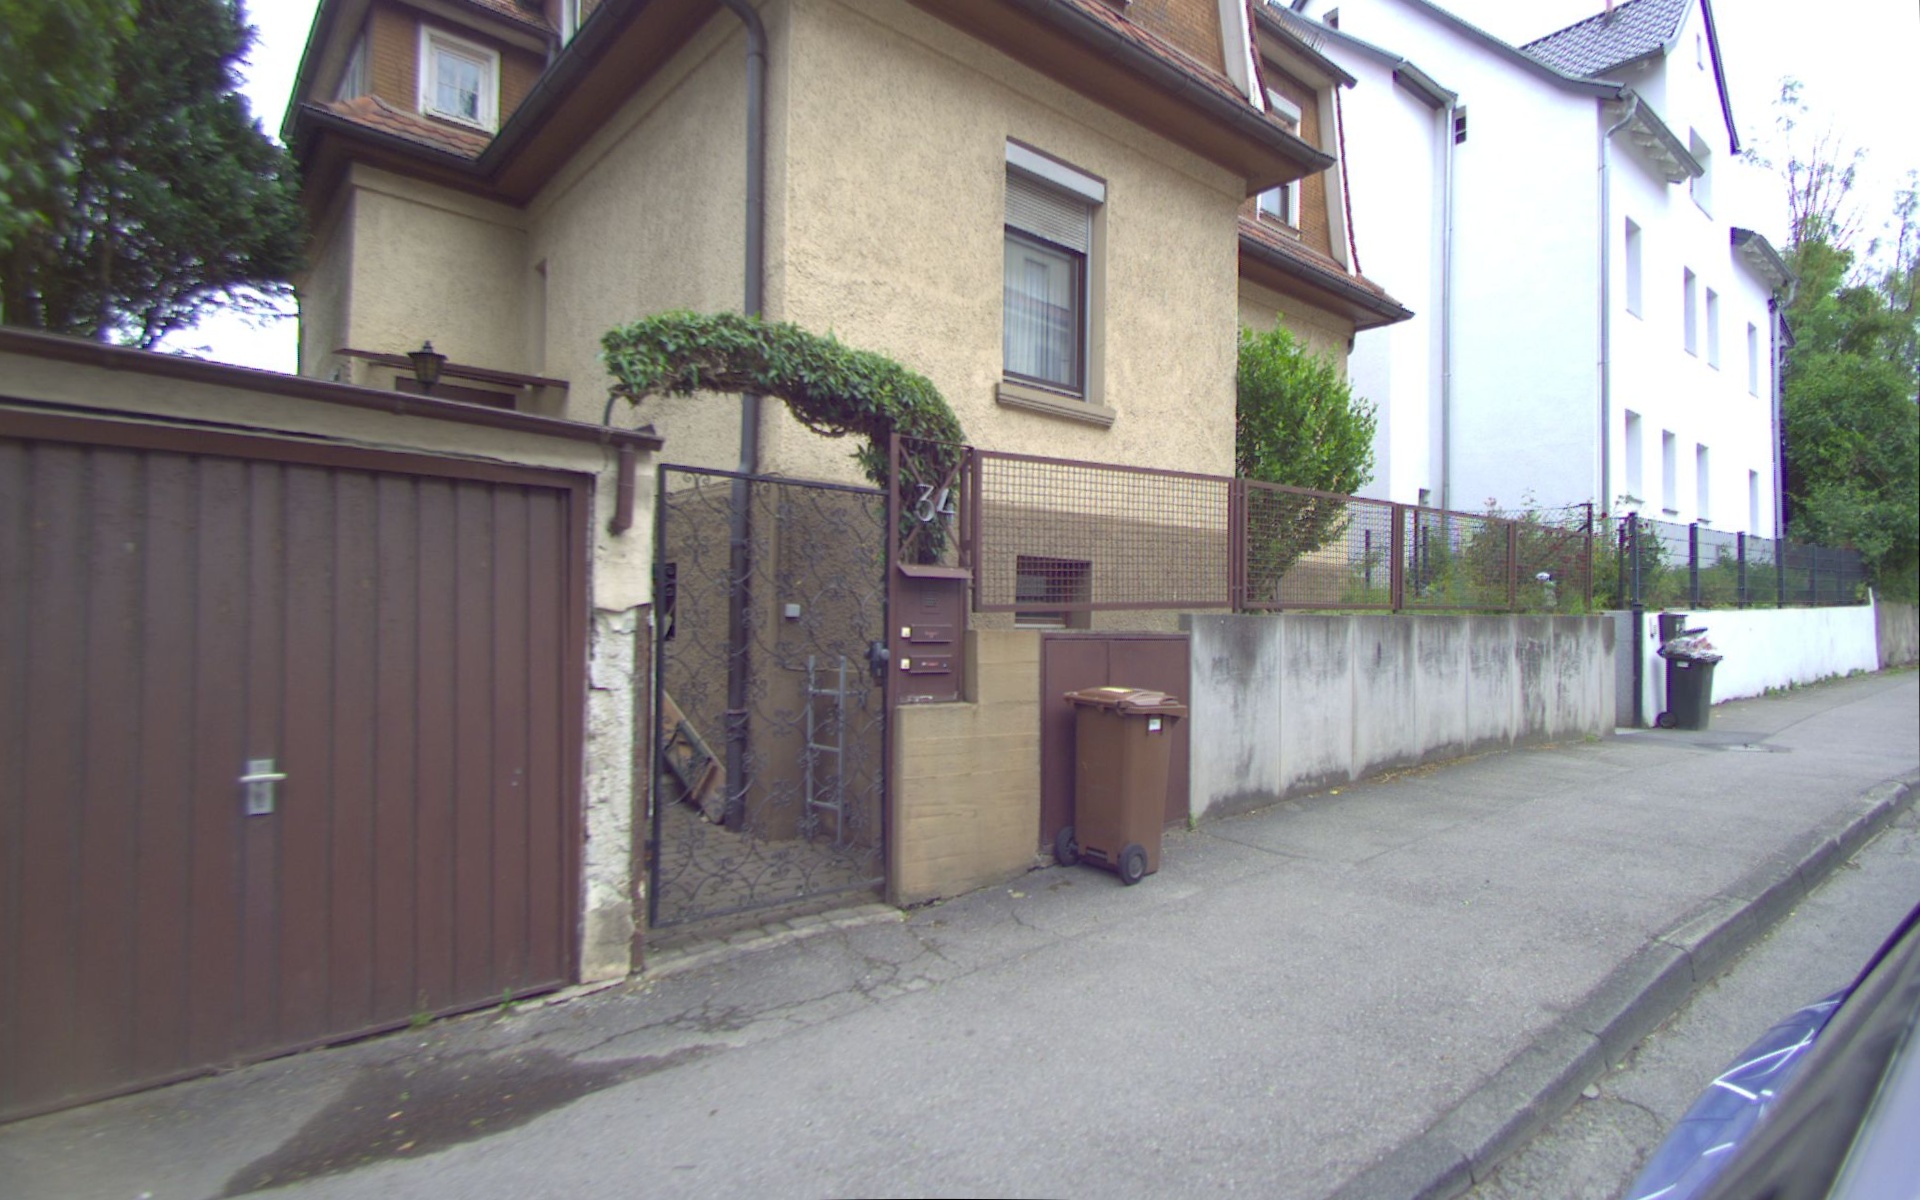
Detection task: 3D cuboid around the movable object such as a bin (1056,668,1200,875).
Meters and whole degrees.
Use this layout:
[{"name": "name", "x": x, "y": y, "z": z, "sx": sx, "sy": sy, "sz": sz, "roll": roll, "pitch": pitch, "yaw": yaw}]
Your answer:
[{"name": "movable object such as a bin", "x": 0.876, "y": 0.857, "z": 5.273, "sx": 0.556, "sy": 0.935, "sz": 0.462, "roll": 0, "pitch": 3, "yaw": -41}]

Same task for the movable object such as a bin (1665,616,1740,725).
[{"name": "movable object such as a bin", "x": 8.663, "y": 0.801, "z": 11.806, "sx": 0.623, "sy": 1.192, "sz": 0.529, "roll": 0, "pitch": 3, "yaw": -41}]
